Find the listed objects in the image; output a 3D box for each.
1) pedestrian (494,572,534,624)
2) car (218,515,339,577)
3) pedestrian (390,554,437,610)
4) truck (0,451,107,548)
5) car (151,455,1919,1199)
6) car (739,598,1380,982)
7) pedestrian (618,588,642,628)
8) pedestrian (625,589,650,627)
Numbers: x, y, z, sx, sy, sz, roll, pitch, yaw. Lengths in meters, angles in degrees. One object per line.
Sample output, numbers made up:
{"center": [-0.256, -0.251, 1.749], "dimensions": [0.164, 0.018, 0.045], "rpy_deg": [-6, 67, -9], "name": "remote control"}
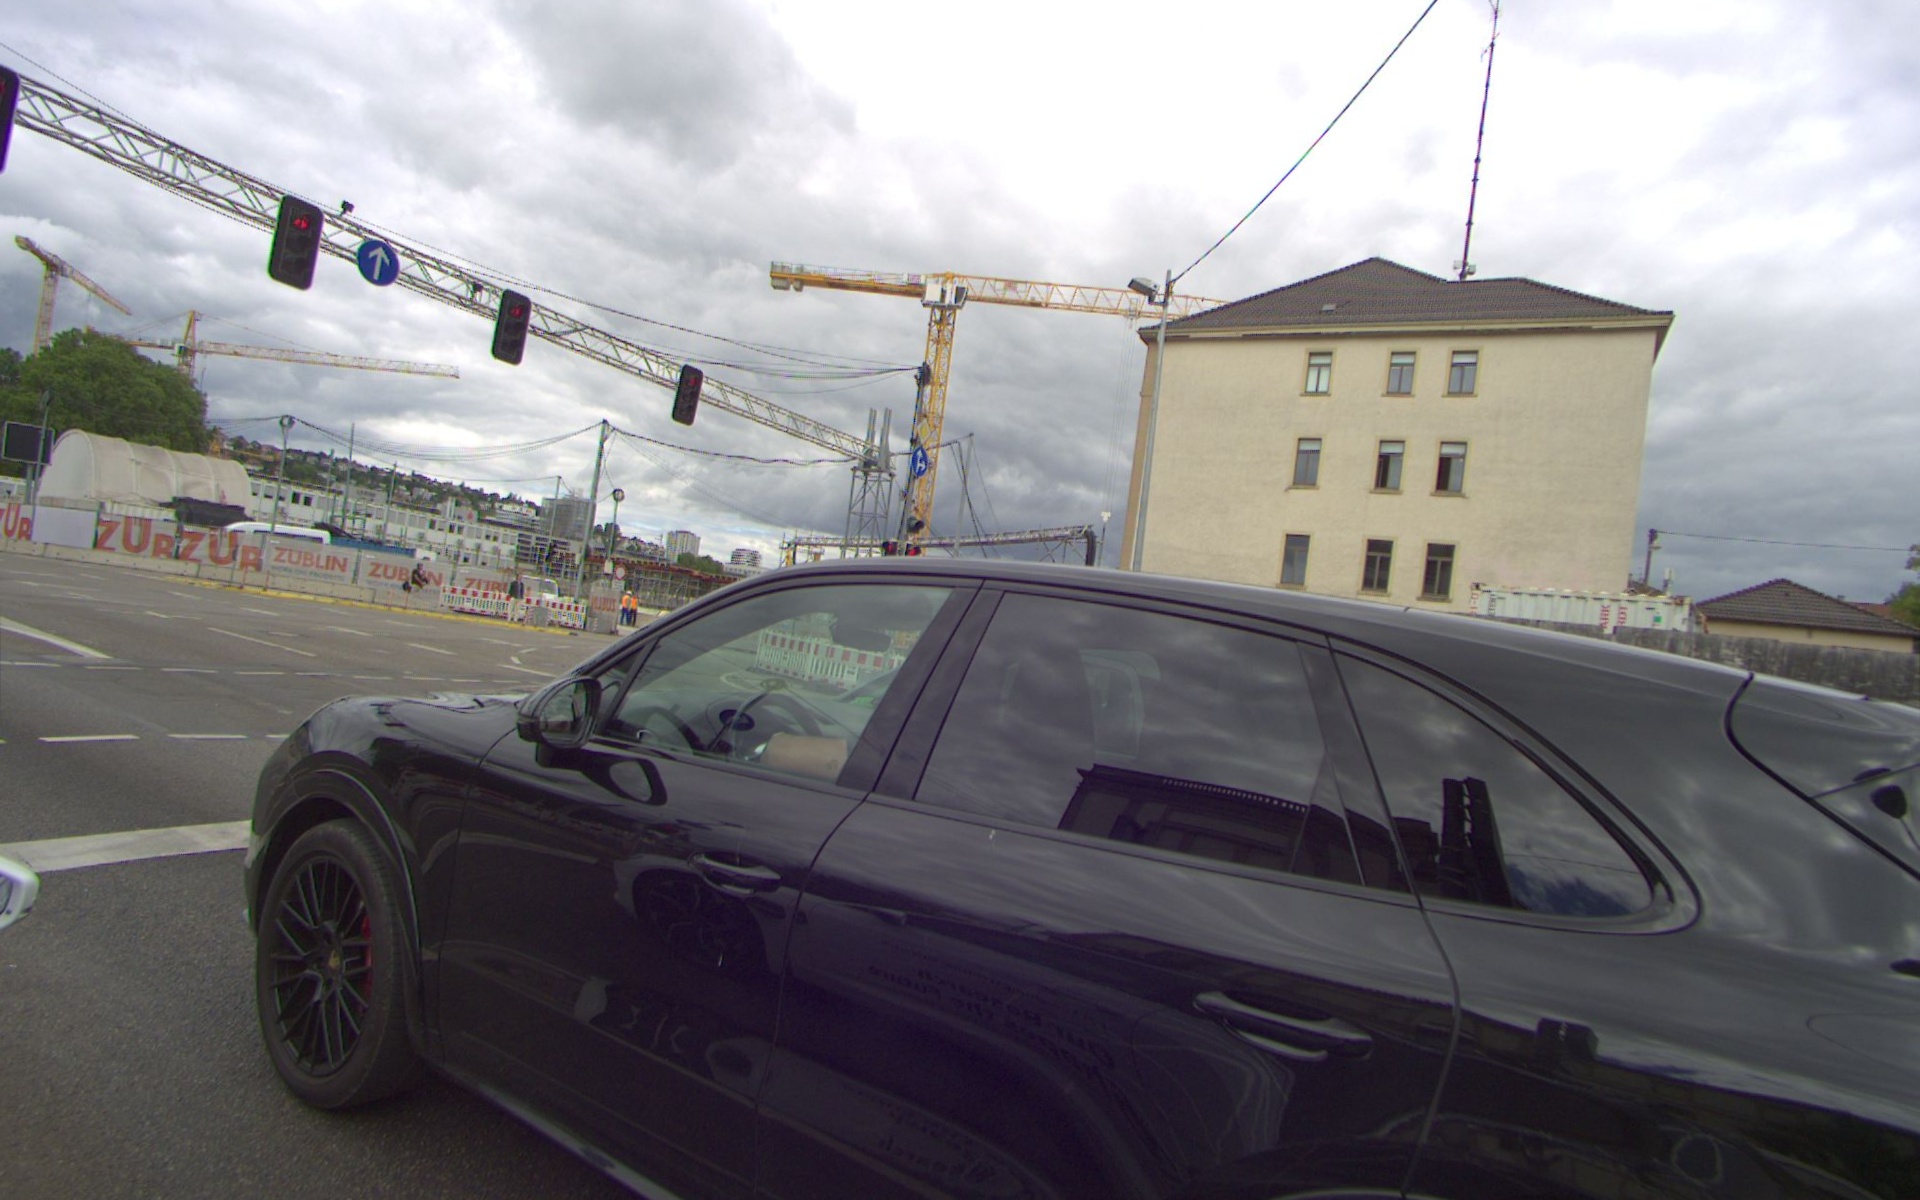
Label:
{"center": [-17.393, -0.077, 39.254], "dimensions": [1.040, 1.869, 0.781], "rpy_deg": [8, -1, -42], "name": "pedestrian"}
{"center": [-29.526, -2.328, 43.642], "dimensions": [3.976, 2.037, 1.976], "rpy_deg": [9, -2, -43], "name": "car"}
{"center": [-21.632, -0.716, 39.857], "dimensions": [1.015, 2.037, 1.047], "rpy_deg": [7, -1, 4], "name": "pedestrian"}
{"center": [-57.718, -6.342, 60.222], "dimensions": [3.054, 5.017, 9.759], "rpy_deg": [7, -2, 14], "name": "truck"}
{"center": [-0.003, 0.687, 2.715], "dimensions": [4.505, 1.687, 1.996], "rpy_deg": [6, -2, 34], "name": "car"}
{"center": [0.578, 0.996, 6.551], "dimensions": [3.587, 1.527, 1.825], "rpy_deg": [6, -2, 33], "name": "car"}
{"center": [-17.642, 0.444, 53.825], "dimensions": [0.855, 2.037, 0.677], "rpy_deg": [6, -1, 44], "name": "pedestrian"}
{"center": [-17.538, 0.433, 54.713], "dimensions": [0.850, 1.938, 0.680], "rpy_deg": [7, -1, 26], "name": "pedestrian"}
